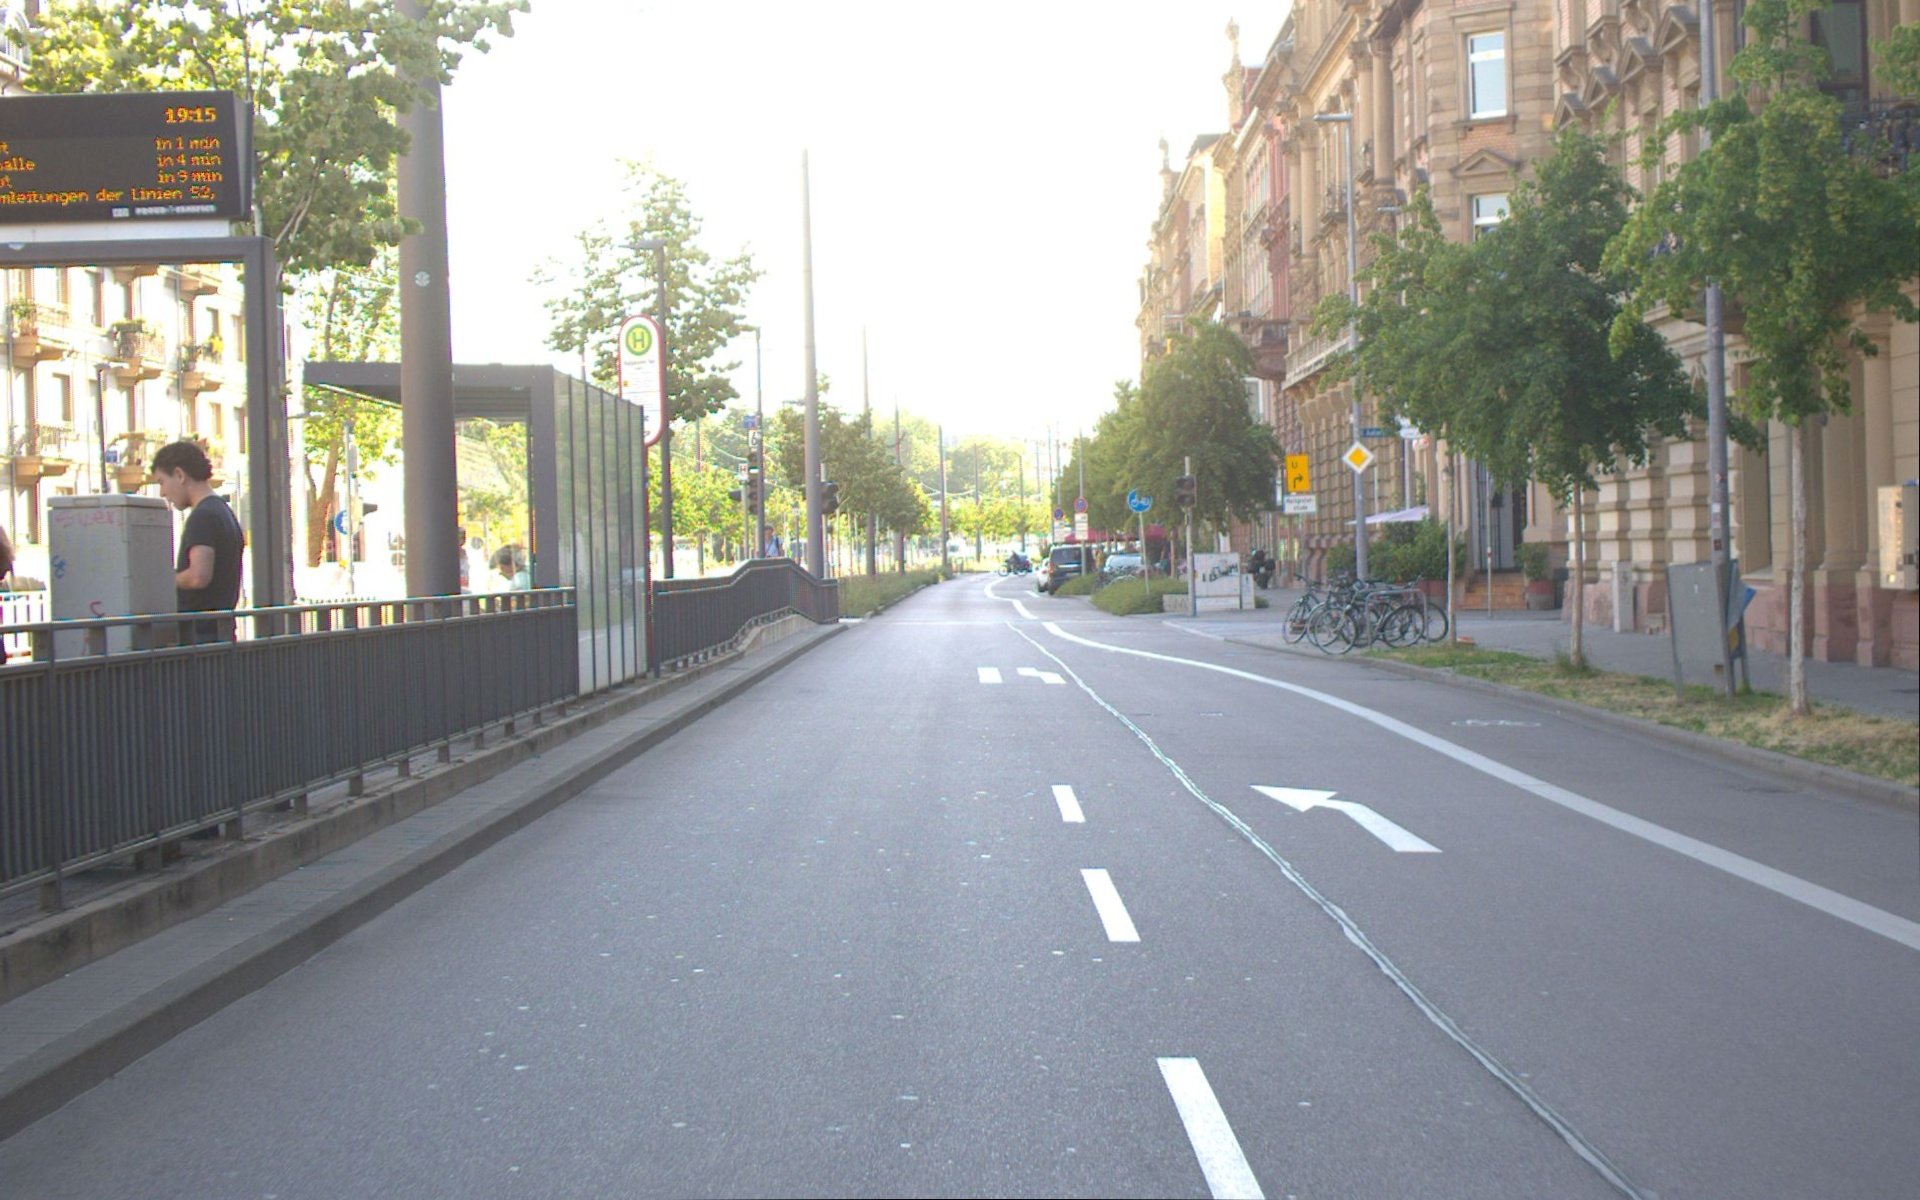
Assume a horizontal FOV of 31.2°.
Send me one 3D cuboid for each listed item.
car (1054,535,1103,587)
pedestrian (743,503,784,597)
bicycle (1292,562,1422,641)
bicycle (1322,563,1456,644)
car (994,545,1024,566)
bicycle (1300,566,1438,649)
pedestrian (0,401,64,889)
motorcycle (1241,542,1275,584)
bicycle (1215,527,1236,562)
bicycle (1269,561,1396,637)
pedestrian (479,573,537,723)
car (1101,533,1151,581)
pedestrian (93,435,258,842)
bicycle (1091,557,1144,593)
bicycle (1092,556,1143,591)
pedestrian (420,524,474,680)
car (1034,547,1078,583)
[{"bbox_3d":[4.707,-1.552,136.873,1.885,1.930,4.473,-2,2,2],"label":"car"},{"bbox_3d":[-3.480,-0.880,61.012,0.655,1.637,0.867,-1,0,0],"label":"pedestrian"},{"bbox_3d":[6.099,0.020,52.878,1.825,1.061,0.664,-4,2,-4],"label":"bicycle"},{"bbox_3d":[6.421,0.053,51.490,1.825,1.061,0.664,-4,2,-4],"label":"bicycle"},{"bbox_3d":[3.659,-3.316,255.586,1.798,1.459,3.999,-2,1,7],"label":"car"},{"bbox_3d":[5.959,0.109,50.124,1.825,1.061,0.664,-4,2,-4],"label":"bicycle"},{"bbox_3d":[-3.616,0.162,12.485,0.505,1.726,0.651,-1,1,0],"label":"pedestrian"},{"bbox_3d":[9.973,-1.256,115.106,0.795,1.304,2.852,-4,2,0],"label":"motorcycle"},{"bbox_3d":[10.998,-2.315,142.546,0.661,1.397,2.352,-2,2,0],"label":"bicycle"},{"bbox_3d":[5.884,-0.019,54.354,1.825,1.061,0.664,-4,2,-4],"label":"bicycle"},{"bbox_3d":[-3.626,0.382,27.592,0.406,1.186,0.430,-1,1,-12],"label":"pedestrian"},{"bbox_3d":[5.824,-1.519,120.278,1.637,1.481,4.211,-3,2,3],"label":"car"},{"bbox_3d":[-3.311,0.156,14.549,0.505,1.673,0.651,-1,1,0],"label":"pedestrian"},{"bbox_3d":[5.049,-0.805,110.458,1.576,1.044,0.489,-3,1,-7],"label":"bicycle"},{"bbox_3d":[5.141,-0.864,112.284,1.576,1.044,0.489,-3,1,-7],"label":"bicycle"},{"bbox_3d":[-4.571,0.015,30.619,0.428,1.381,0.408,-1,1,-11],"label":"pedestrian"},{"bbox_3d":[4.201,-1.535,150.301,1.850,1.452,4.156,-2,2,2],"label":"car"}]
